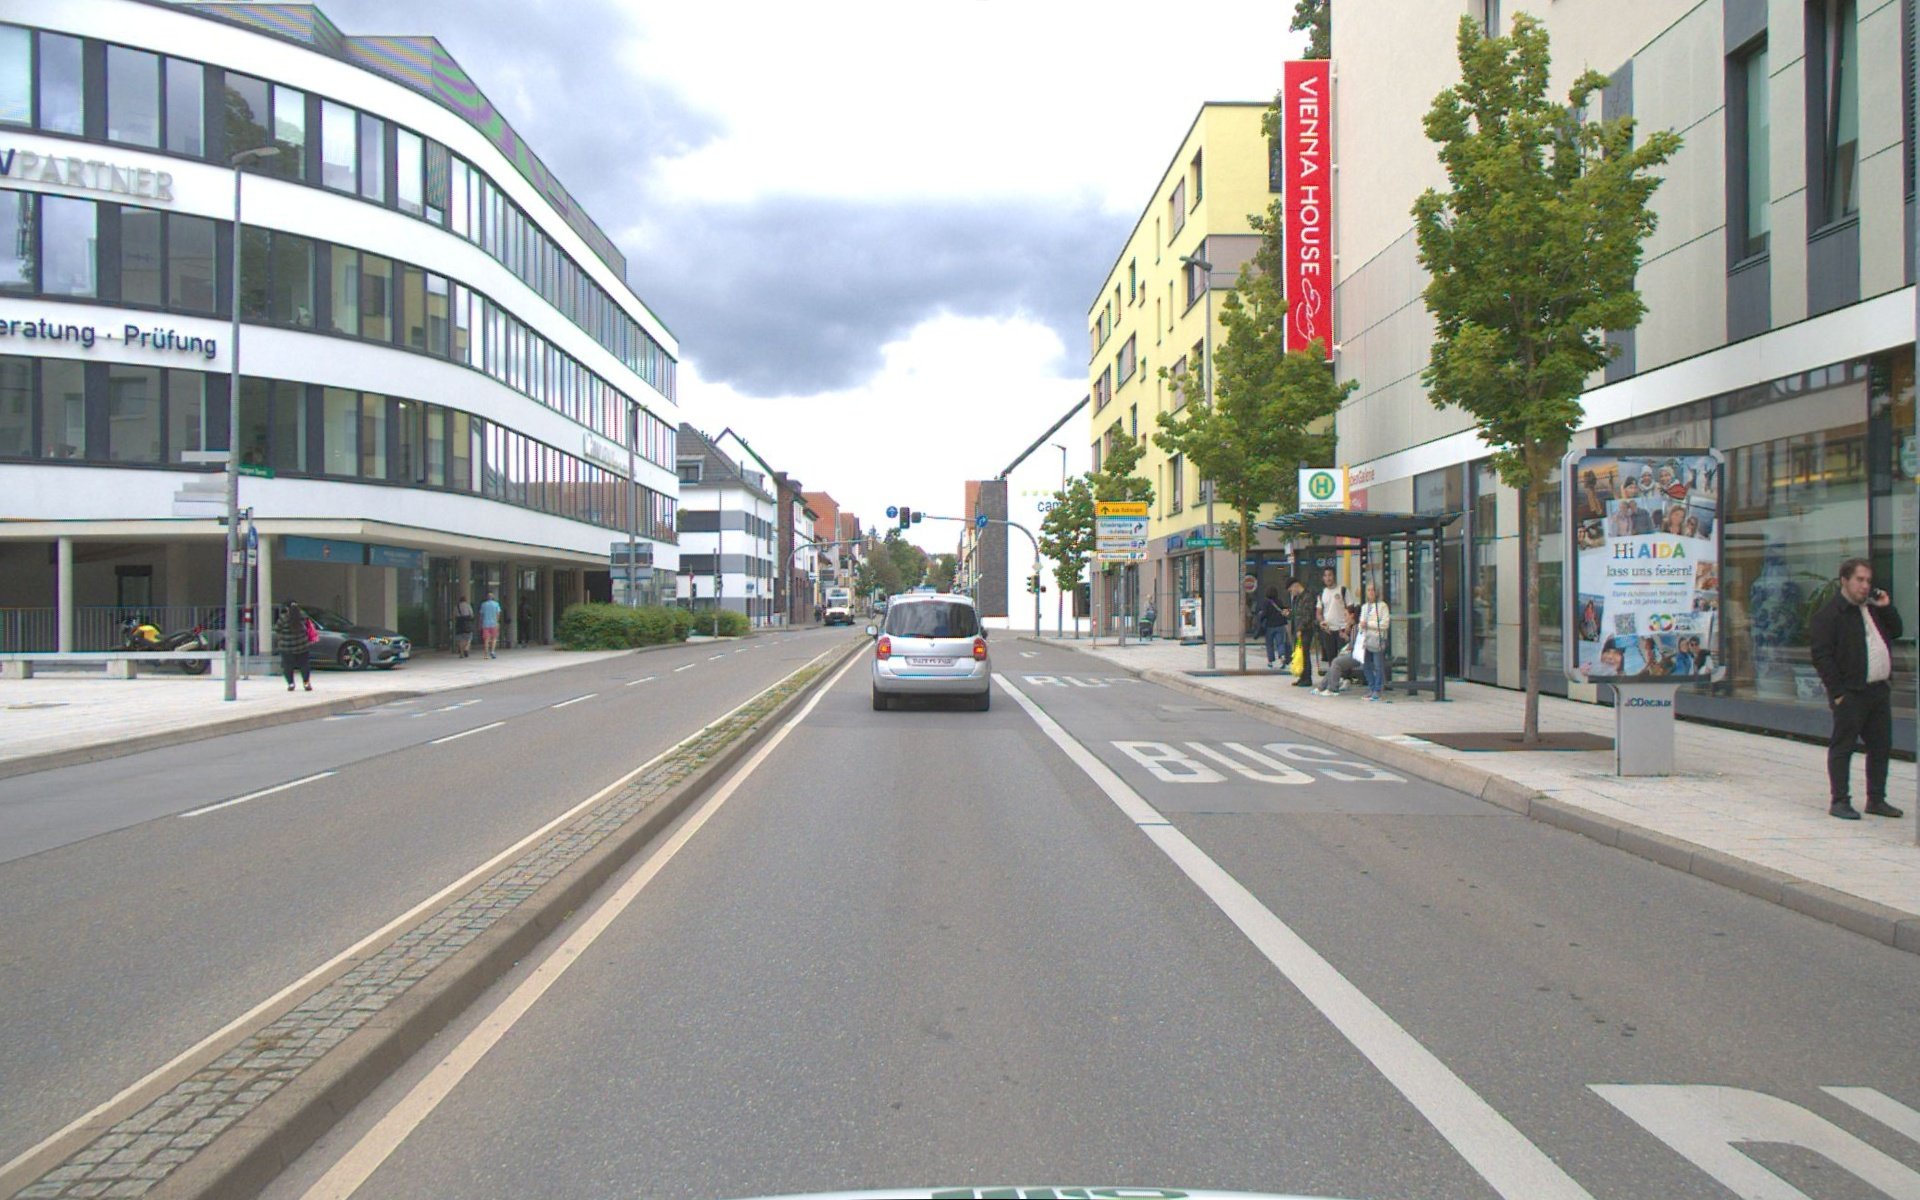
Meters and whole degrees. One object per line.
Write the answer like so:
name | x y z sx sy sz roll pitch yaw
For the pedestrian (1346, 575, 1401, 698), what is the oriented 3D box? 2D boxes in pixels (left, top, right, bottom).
pedestrian | 5.570 0.483 22.298 0.567 1.618 0.733 -1 0 4

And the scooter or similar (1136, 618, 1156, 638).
scooter or similar | 6.385 0.956 56.795 0.580 0.684 0.824 -2 0 -2

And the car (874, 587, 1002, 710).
car | -0.339 0.643 24.063 1.672 1.606 3.999 1 0 -2

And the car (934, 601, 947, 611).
car | -2.788 0.851 235.461 1.776 1.378 3.999 -1 0 -1

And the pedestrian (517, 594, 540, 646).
pedestrian | -14.536 0.666 55.727 0.607 1.740 0.501 0 0 -32

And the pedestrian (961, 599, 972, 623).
pedestrian | 0.529 0.890 131.208 0.791 1.818 0.861 -3 0 -1

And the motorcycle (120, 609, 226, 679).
motorcycle | -15.985 0.883 33.611 1.816 1.356 0.636 1 0 2

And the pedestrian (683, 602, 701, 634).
pedestrian | -14.633 0.952 90.235 0.864 1.698 0.814 0 2 -4

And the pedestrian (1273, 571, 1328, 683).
pedestrian | 5.334 0.421 25.939 0.705 1.713 0.733 -1 0 4

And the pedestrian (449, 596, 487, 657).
pedestrian | -13.523 0.728 45.483 0.715 1.641 0.931 1 0 0

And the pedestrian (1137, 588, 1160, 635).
pedestrian | 6.545 0.397 57.526 0.681 1.621 0.603 -2 0 -2

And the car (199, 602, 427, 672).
car | -14.585 0.810 37.409 4.363 1.440 1.903 1 0 3

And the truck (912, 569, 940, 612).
truck | -3.132 -0.866 154.593 2.543 3.925 6.847 0 0 -1

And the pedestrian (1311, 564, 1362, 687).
pedestrian | 5.622 0.373 24.724 0.567 1.800 0.857 -1 0 4

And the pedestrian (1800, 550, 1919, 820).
pedestrian | 5.933 0.531 10.728 0.641 1.698 0.614 0 0 -1

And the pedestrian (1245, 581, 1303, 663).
pedestrian | 6.280 0.442 33.146 0.928 1.611 1.015 -1 0 -2

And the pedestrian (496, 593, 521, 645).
pedestrian | -15.344 0.633 56.203 0.495 1.760 0.614 -1 0 30

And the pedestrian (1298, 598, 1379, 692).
pedestrian | 5.378 0.629 23.544 0.924 1.281 0.732 -1 0 -4

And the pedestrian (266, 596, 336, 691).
pedestrian | -11.390 0.741 28.602 0.812 1.594 0.813 1 0 4

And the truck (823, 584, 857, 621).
truck | -9.766 0.198 135.318 2.386 3.005 8.361 0 0 -2

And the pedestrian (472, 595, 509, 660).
pedestrian | -12.641 0.735 44.543 0.715 1.703 0.931 1 0 0
